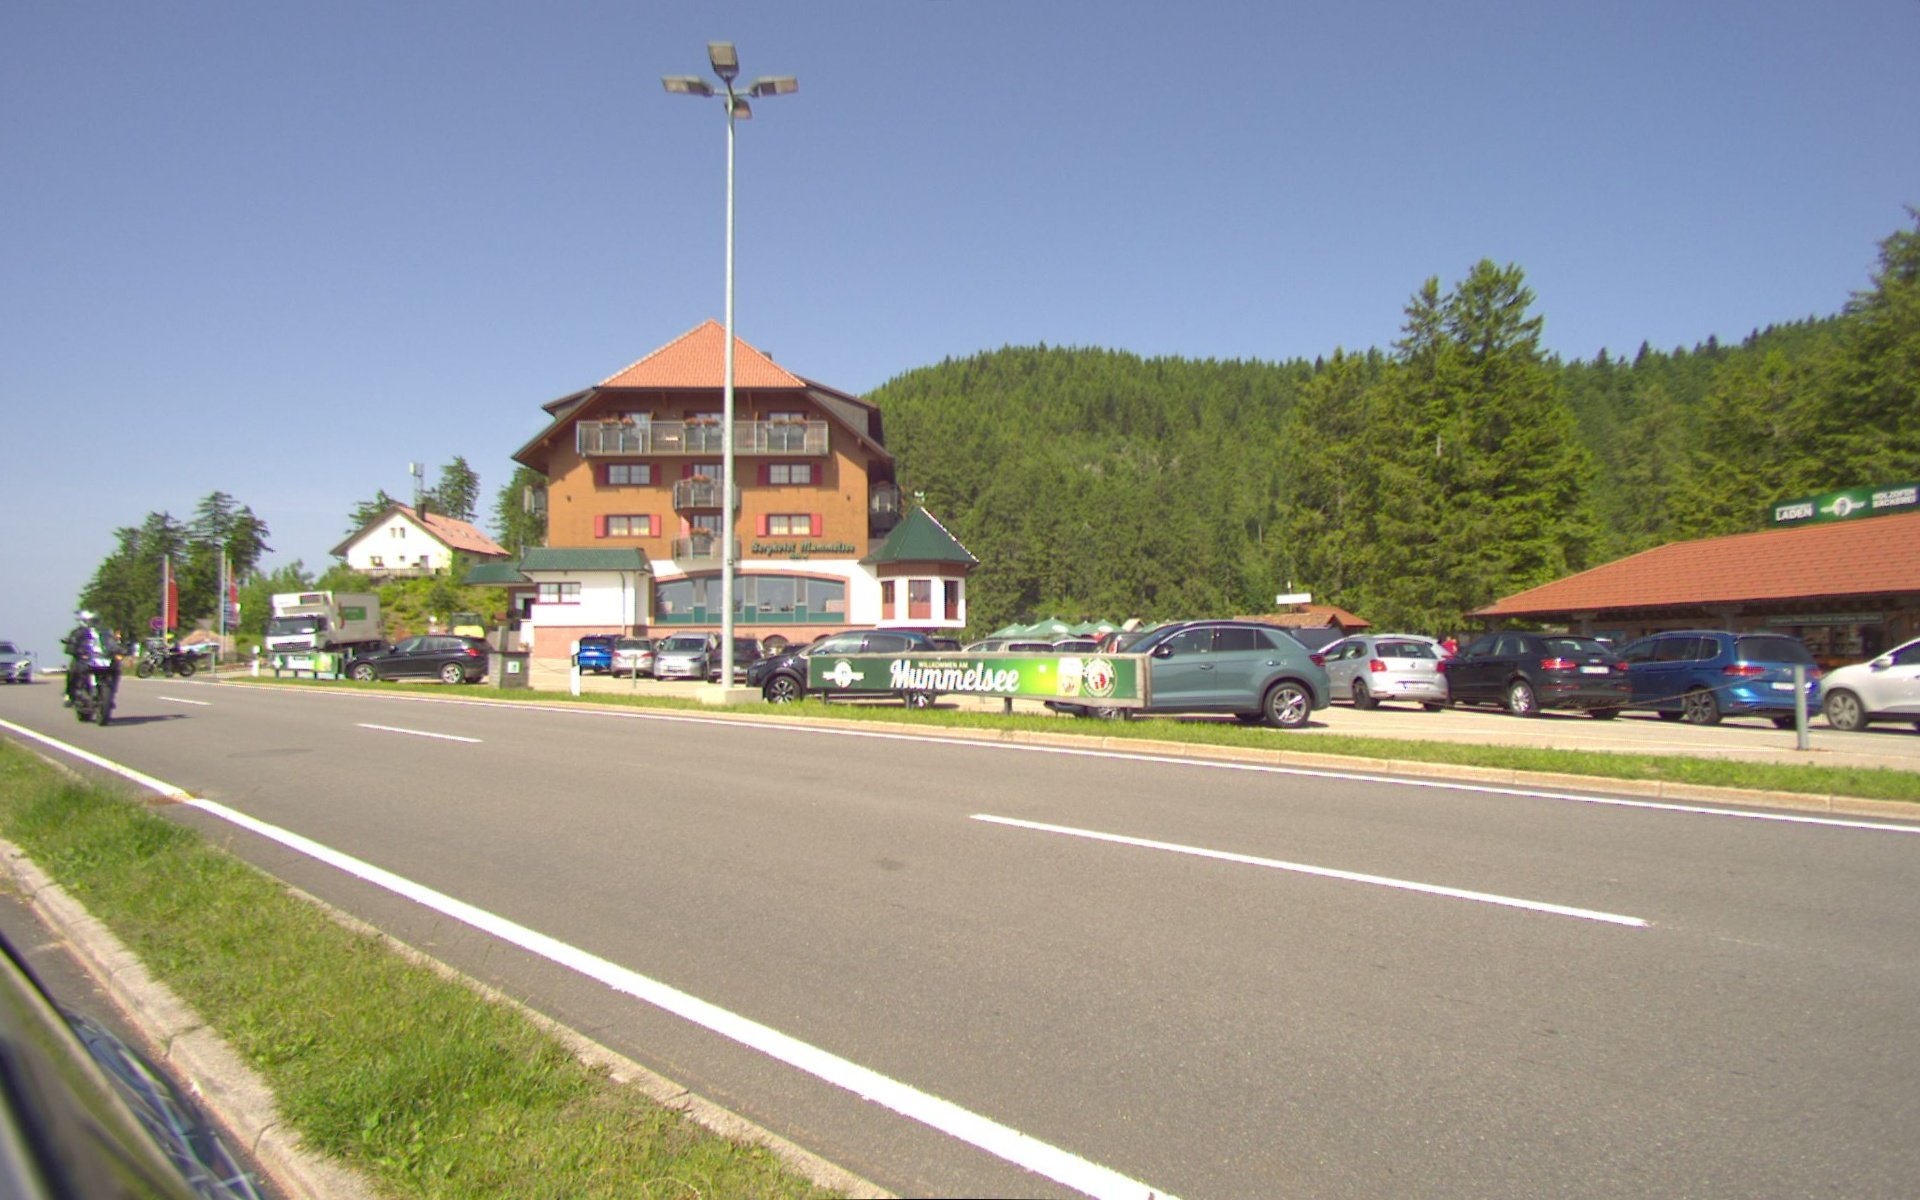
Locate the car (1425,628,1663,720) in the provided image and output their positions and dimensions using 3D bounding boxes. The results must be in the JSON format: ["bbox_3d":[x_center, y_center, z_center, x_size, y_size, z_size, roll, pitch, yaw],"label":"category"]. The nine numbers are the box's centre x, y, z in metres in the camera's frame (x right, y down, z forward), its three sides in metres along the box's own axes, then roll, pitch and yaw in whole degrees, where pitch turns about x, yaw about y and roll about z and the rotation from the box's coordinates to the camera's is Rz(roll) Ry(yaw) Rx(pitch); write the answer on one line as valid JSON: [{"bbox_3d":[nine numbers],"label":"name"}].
[{"bbox_3d":[10.962,1.397,19.397,1.970,1.586,4.003,0,-4,-4],"label":"car"}]

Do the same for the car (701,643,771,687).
[{"bbox_3d":[-7.739,2.262,35.264,1.885,1.441,4.004,0,-4,-5],"label":"car"}]

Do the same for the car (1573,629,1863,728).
[{"bbox_3d":[13.431,1.393,18.306,1.970,1.586,4.003,0,-4,-4],"label":"car"}]

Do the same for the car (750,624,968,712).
[{"bbox_3d":[-1.839,1.288,19.302,3.946,1.564,1.782,-1,-3,2],"label":"car"}]

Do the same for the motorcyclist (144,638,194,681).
[{"bbox_3d":[-32.709,2.441,41.856,1.057,1.733,1.239,-1,-2,21],"label":"motorcyclist"}]

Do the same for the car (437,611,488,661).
[{"bbox_3d":[-26.832,1.985,54.512,1.966,2.515,4.011,2,-4,-33],"label":"car"}]

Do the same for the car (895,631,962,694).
[{"bbox_3d":[-0.860,1.844,29.707,1.801,1.717,3.998,-1,-4,1],"label":"car"}]

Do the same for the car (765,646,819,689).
[{"bbox_3d":[-5.528,2.224,33.628,1.563,1.331,3.644,0,-4,-6],"label":"car"}]

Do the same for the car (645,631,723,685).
[{"bbox_3d":[-10.253,2.195,37.949,1.809,1.878,4.531,0,-4,-2],"label":"car"}]

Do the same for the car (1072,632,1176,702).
[{"bbox_3d":[3.985,1.665,25.172,1.709,1.600,3.735,0,-4,-4],"label":"car"}]

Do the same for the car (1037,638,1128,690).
[{"bbox_3d":[3.809,2.029,32.147,1.969,1.564,4.005,0,-4,-7],"label":"car"}]

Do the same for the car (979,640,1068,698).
[{"bbox_3d":[1.582,1.810,26.665,1.785,1.381,4.003,0,-4,-4],"label":"car"}]

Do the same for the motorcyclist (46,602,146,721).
[{"bbox_3d":[-13.329,0.923,15.611,1.450,1.731,0.914,-1,-2,39],"label":"motorcyclist"}]

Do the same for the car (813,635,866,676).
[{"bbox_3d":[-4.606,2.142,38.819,1.905,1.494,4.005,0,-4,-7],"label":"car"}]

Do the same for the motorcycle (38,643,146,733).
[{"bbox_3d":[-13.479,1.314,15.694,2.275,1.266,0.867,-1,-2,39],"label":"motorcycle"}]

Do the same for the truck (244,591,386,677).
[{"bbox_3d":[-33.563,1.692,53.162,3.021,4.002,8.789,-2,-1,-10],"label":"truck"}]

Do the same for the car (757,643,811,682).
[{"bbox_3d":[-7.093,2.545,41.110,1.905,1.494,4.005,0,-4,-7],"label":"car"}]

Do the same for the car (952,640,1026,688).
[{"bbox_3d":[0.922,2.208,34.815,1.969,1.564,4.005,0,-4,-7],"label":"car"}]

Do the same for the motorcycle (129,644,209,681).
[{"bbox_3d":[-32.698,2.560,41.892,0.999,1.417,2.427,-1,-2,21],"label":"motorcycle"}]

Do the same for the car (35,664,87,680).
[{"bbox_3d":[-112.502,9.056,126.711,1.932,1.896,4.664,-5,-8,43],"label":"car"}]

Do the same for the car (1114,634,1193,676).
[{"bbox_3d":[7.406,2.137,39.174,1.881,1.542,3.886,0,-4,-7],"label":"car"}]

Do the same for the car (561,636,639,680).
[{"bbox_3d":[-14.821,2.372,41.902,1.910,1.676,4.549,0,-3,-5],"label":"car"}]

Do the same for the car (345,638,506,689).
[{"bbox_3d":[-16.938,2.011,32.229,4.129,1.552,1.809,0,-4,-4],"label":"car"}]

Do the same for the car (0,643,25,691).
[{"bbox_3d":[-31.370,2.156,32.308,3.997,1.468,1.758,-4,-5,41],"label":"car"}]

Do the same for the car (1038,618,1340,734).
[{"bbox_3d":[3.287,1.095,15.045,3.999,1.579,1.741,0,-2,-3],"label":"car"}]

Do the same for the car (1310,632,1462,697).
[{"bbox_3d":[11.239,1.724,27.043,1.969,1.586,4.005,0,-4,-7],"label":"car"}]

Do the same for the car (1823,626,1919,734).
[{"bbox_3d":[15.846,1.235,15.361,1.749,1.685,4.035,1,-4,-5],"label":"car"}]

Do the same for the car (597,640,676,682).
[{"bbox_3d":[-12.539,2.392,39.531,1.971,1.557,4.002,0,-4,-3],"label":"car"}]

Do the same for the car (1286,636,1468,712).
[{"bbox_3d":[8.550,1.528,21.162,1.879,1.431,4.003,0,-4,-4],"label":"car"}]
